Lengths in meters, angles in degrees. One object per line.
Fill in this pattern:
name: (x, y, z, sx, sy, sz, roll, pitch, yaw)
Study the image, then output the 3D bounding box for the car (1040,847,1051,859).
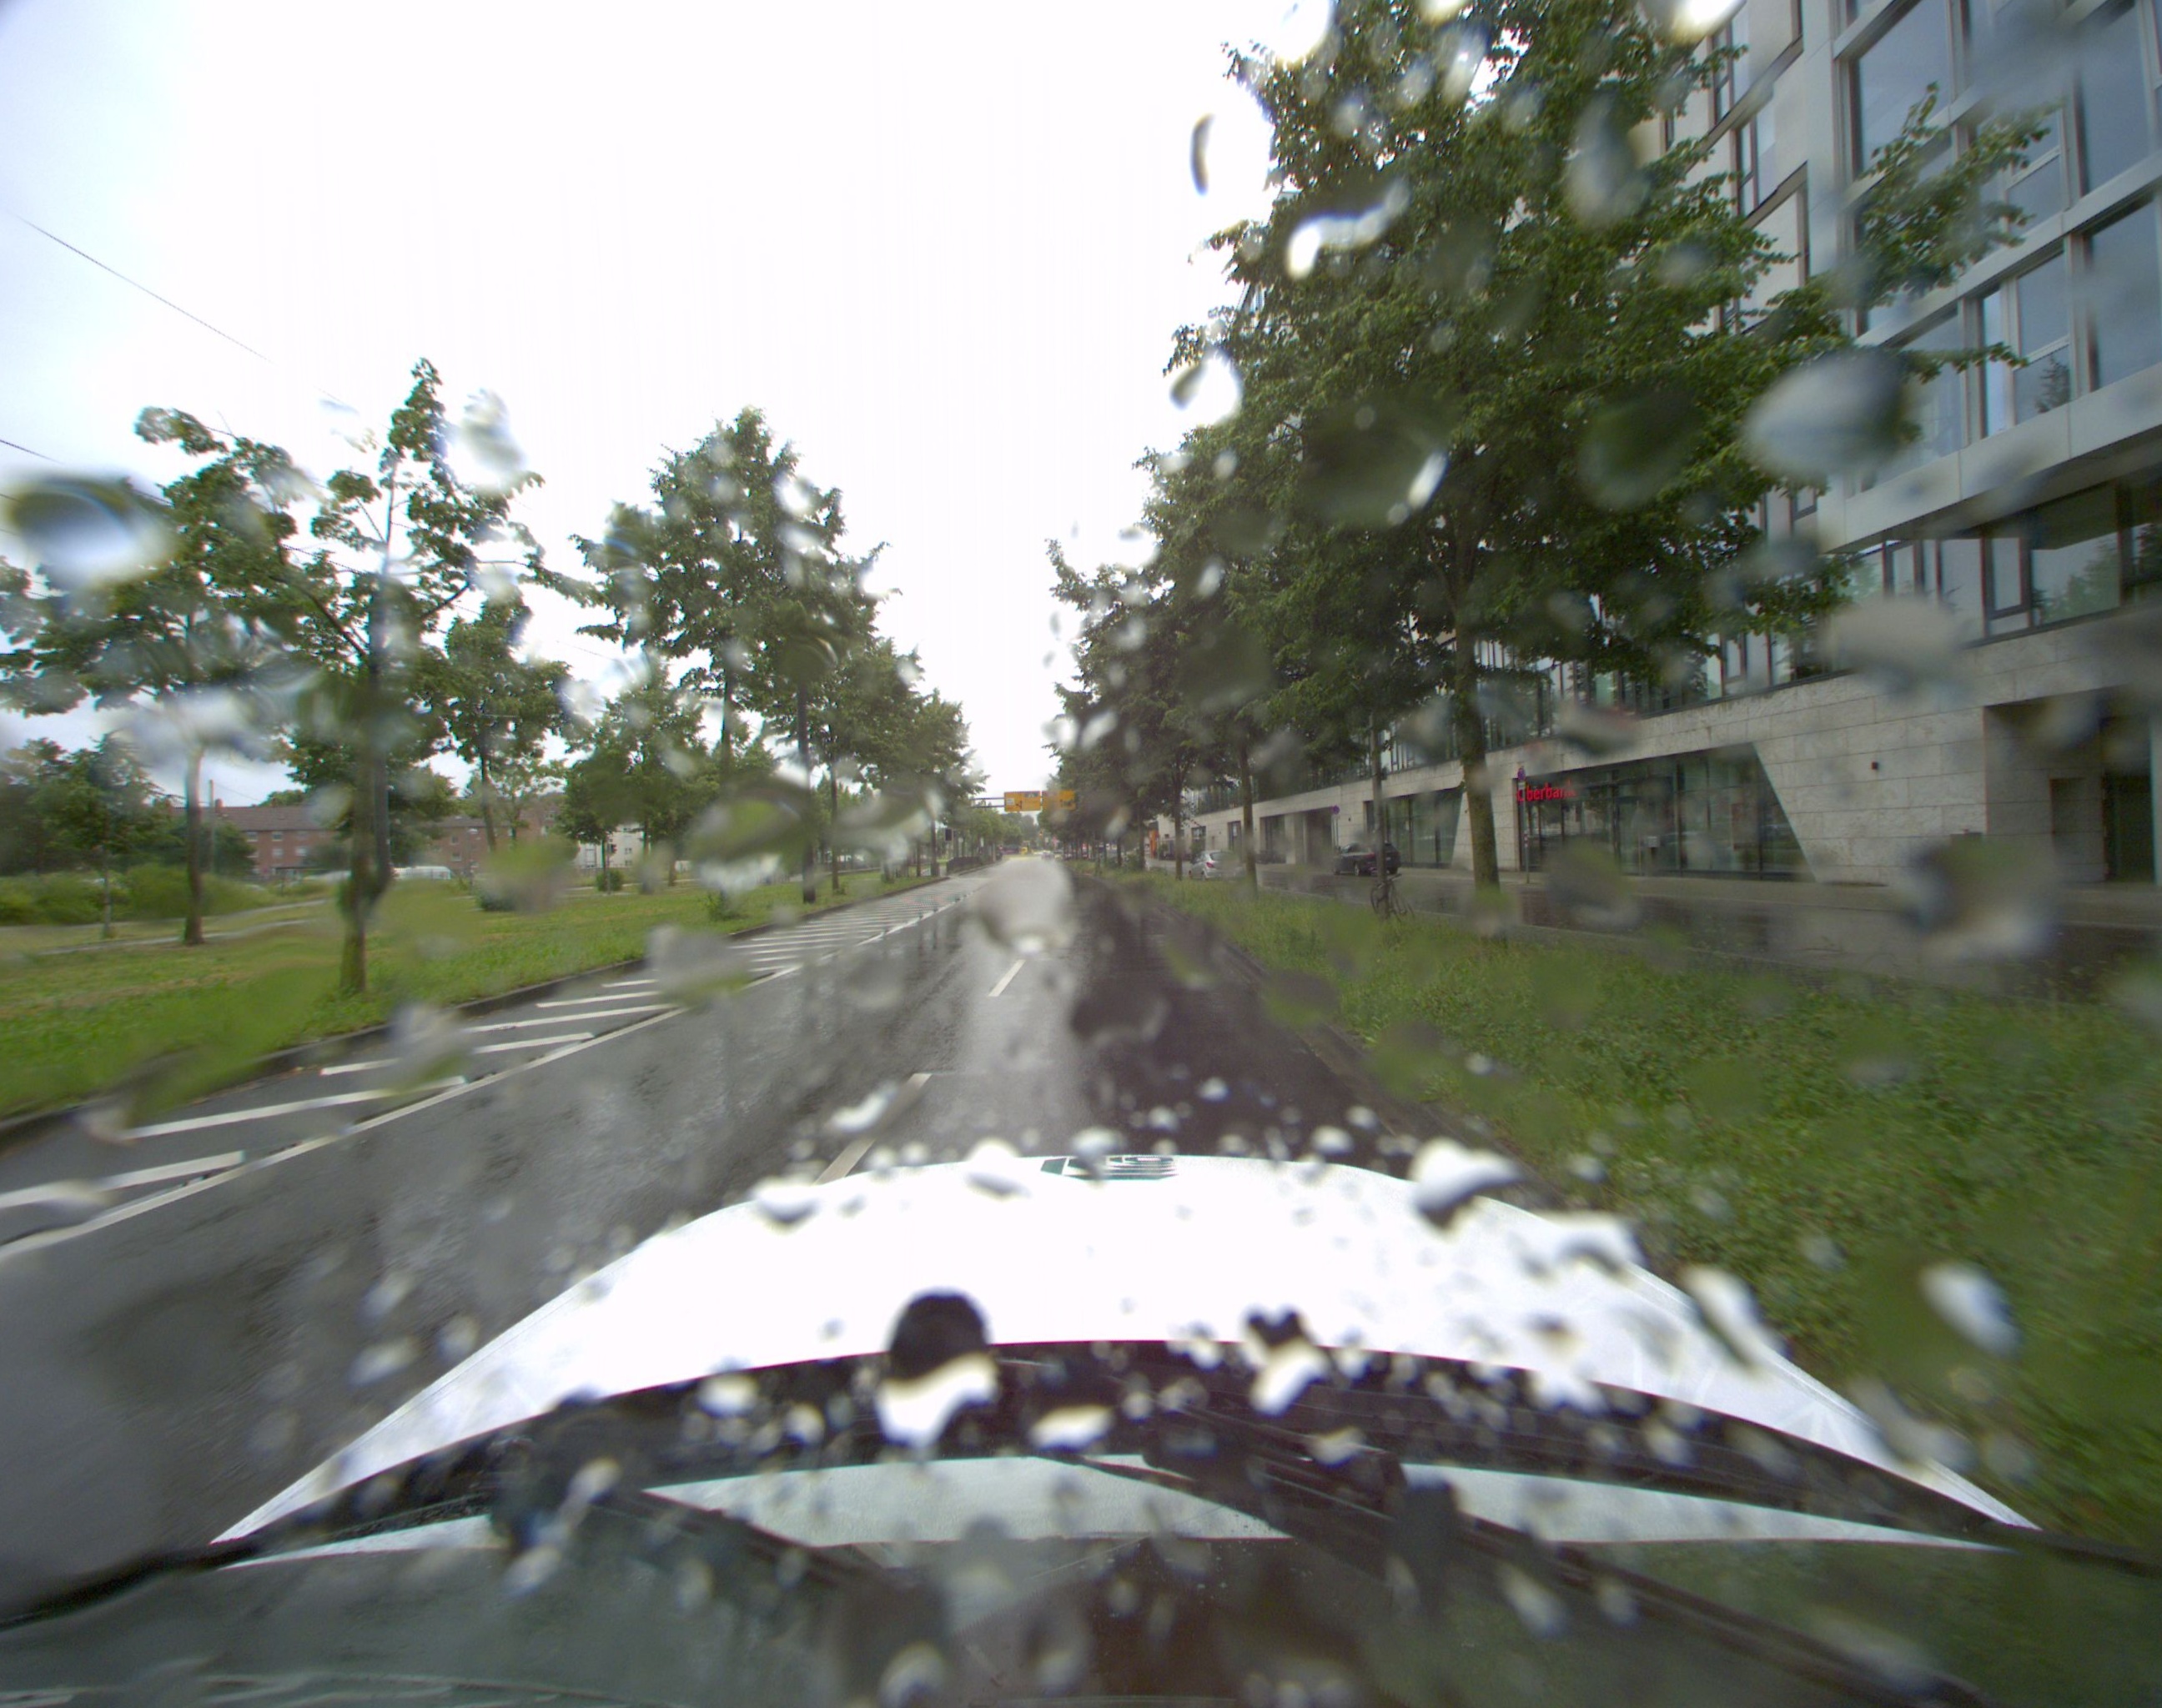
car: (-6.623, -0.278, 152.128, 1.936, 2.013, 3.997, -2, 2, -3)

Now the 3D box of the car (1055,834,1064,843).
car: (-5.086, -3.750, 192.116, 1.987, 2.013, 4.001, -2, 2, 1)

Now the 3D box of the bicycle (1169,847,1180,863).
bicycle: (10.861, 0.114, 94.401, 0.643, 1.722, 3.117, -2, 2, -4)

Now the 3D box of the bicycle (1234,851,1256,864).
bicycle: (13.412, 0.255, 66.571, 1.689, 1.028, 0.423, -2, -1, -1)

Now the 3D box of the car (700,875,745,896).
car: (-24.093, 2.065, 54.830, 1.488, 1.298, 4.961, -2, -1, -9)

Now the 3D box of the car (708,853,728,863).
car: (-72.372, 0.719, 162.268, 3.551, 1.738, 1.691, -3, 2, -27)

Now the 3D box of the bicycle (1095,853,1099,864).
bicycle: (1.350, 0.373, 69.132, 0.274, 0.849, 1.291, -2, 0, -3)

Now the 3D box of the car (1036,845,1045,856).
car: (-8.286, -0.659, 166.048, 1.884, 2.013, 3.997, -2, 2, -3)

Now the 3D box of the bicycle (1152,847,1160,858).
bicycle: (10.796, -0.219, 117.077, 0.664, 1.534, 2.761, -2, 2, -3)

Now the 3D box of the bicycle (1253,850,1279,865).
bicycle: (13.867, 0.263, 61.129, 1.801, 1.028, 0.541, -2, -1, -1)

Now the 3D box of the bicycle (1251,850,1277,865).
bicycle: (13.866, 0.267, 61.735, 1.801, 1.028, 0.541, -2, -1, -1)

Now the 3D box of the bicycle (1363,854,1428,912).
bicycle: (5.203, 0.449, 13.588, 0.341, 0.822, 1.902, -2, 2, 0)

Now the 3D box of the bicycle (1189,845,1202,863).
bicycle: (11.858, -0.061, 84.465, 0.643, 1.722, 3.117, -2, 2, -4)

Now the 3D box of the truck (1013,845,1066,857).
truck: (-11.802, -0.793, 230.819, 14.860, 3.147, 3.511, -1, 0, -10)

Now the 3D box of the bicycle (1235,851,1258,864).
bicycle: (13.426, 0.263, 66.084, 1.745, 1.028, 0.412, -2, -1, -1)

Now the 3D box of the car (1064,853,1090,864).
car: (-0.591, 0.641, 118.283, 1.829, 1.545, 3.957, -3, 3, -36)

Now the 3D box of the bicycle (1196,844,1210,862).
bicycle: (12.644, -0.082, 84.412, 0.770, 1.722, 3.117, -2, 2, -4)

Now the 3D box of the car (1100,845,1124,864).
car: (3.140, 0.061, 83.409, 1.902, 1.791, 4.682, -2, 0, -3)

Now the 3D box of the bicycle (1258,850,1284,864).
bicycle: (13.972, 0.217, 59.816, 1.801, 1.028, 0.401, -2, -1, -1)

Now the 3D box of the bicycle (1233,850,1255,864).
bicycle: (13.411, 0.247, 67.108, 1.689, 1.028, 0.423, -2, -1, -1)

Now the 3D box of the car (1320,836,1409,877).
car: (12.472, 0.048, 36.237, 1.988, 1.501, 5.031, -6, 1, -1)

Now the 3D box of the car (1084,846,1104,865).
car: (1.628, 0.130, 101.892, 2.116, 2.274, 4.559, -2, 0, -3)

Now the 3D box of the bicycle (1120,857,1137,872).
bicycle: (3.539, 0.805, 60.727, 1.282, 1.074, 0.275, -2, 0, 4)

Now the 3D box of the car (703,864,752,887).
car: (-24.064, 1.452, 55.619, 1.546, 1.266, 4.844, -2, 1, -5)

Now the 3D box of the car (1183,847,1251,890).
car: (5.693, 0.549, 34.642, 1.877, 1.505, 4.719, -2, 2, -3)

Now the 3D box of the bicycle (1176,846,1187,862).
bicycle: (11.606, 0.000, 94.433, 0.643, 1.722, 3.117, -2, 2, -4)
